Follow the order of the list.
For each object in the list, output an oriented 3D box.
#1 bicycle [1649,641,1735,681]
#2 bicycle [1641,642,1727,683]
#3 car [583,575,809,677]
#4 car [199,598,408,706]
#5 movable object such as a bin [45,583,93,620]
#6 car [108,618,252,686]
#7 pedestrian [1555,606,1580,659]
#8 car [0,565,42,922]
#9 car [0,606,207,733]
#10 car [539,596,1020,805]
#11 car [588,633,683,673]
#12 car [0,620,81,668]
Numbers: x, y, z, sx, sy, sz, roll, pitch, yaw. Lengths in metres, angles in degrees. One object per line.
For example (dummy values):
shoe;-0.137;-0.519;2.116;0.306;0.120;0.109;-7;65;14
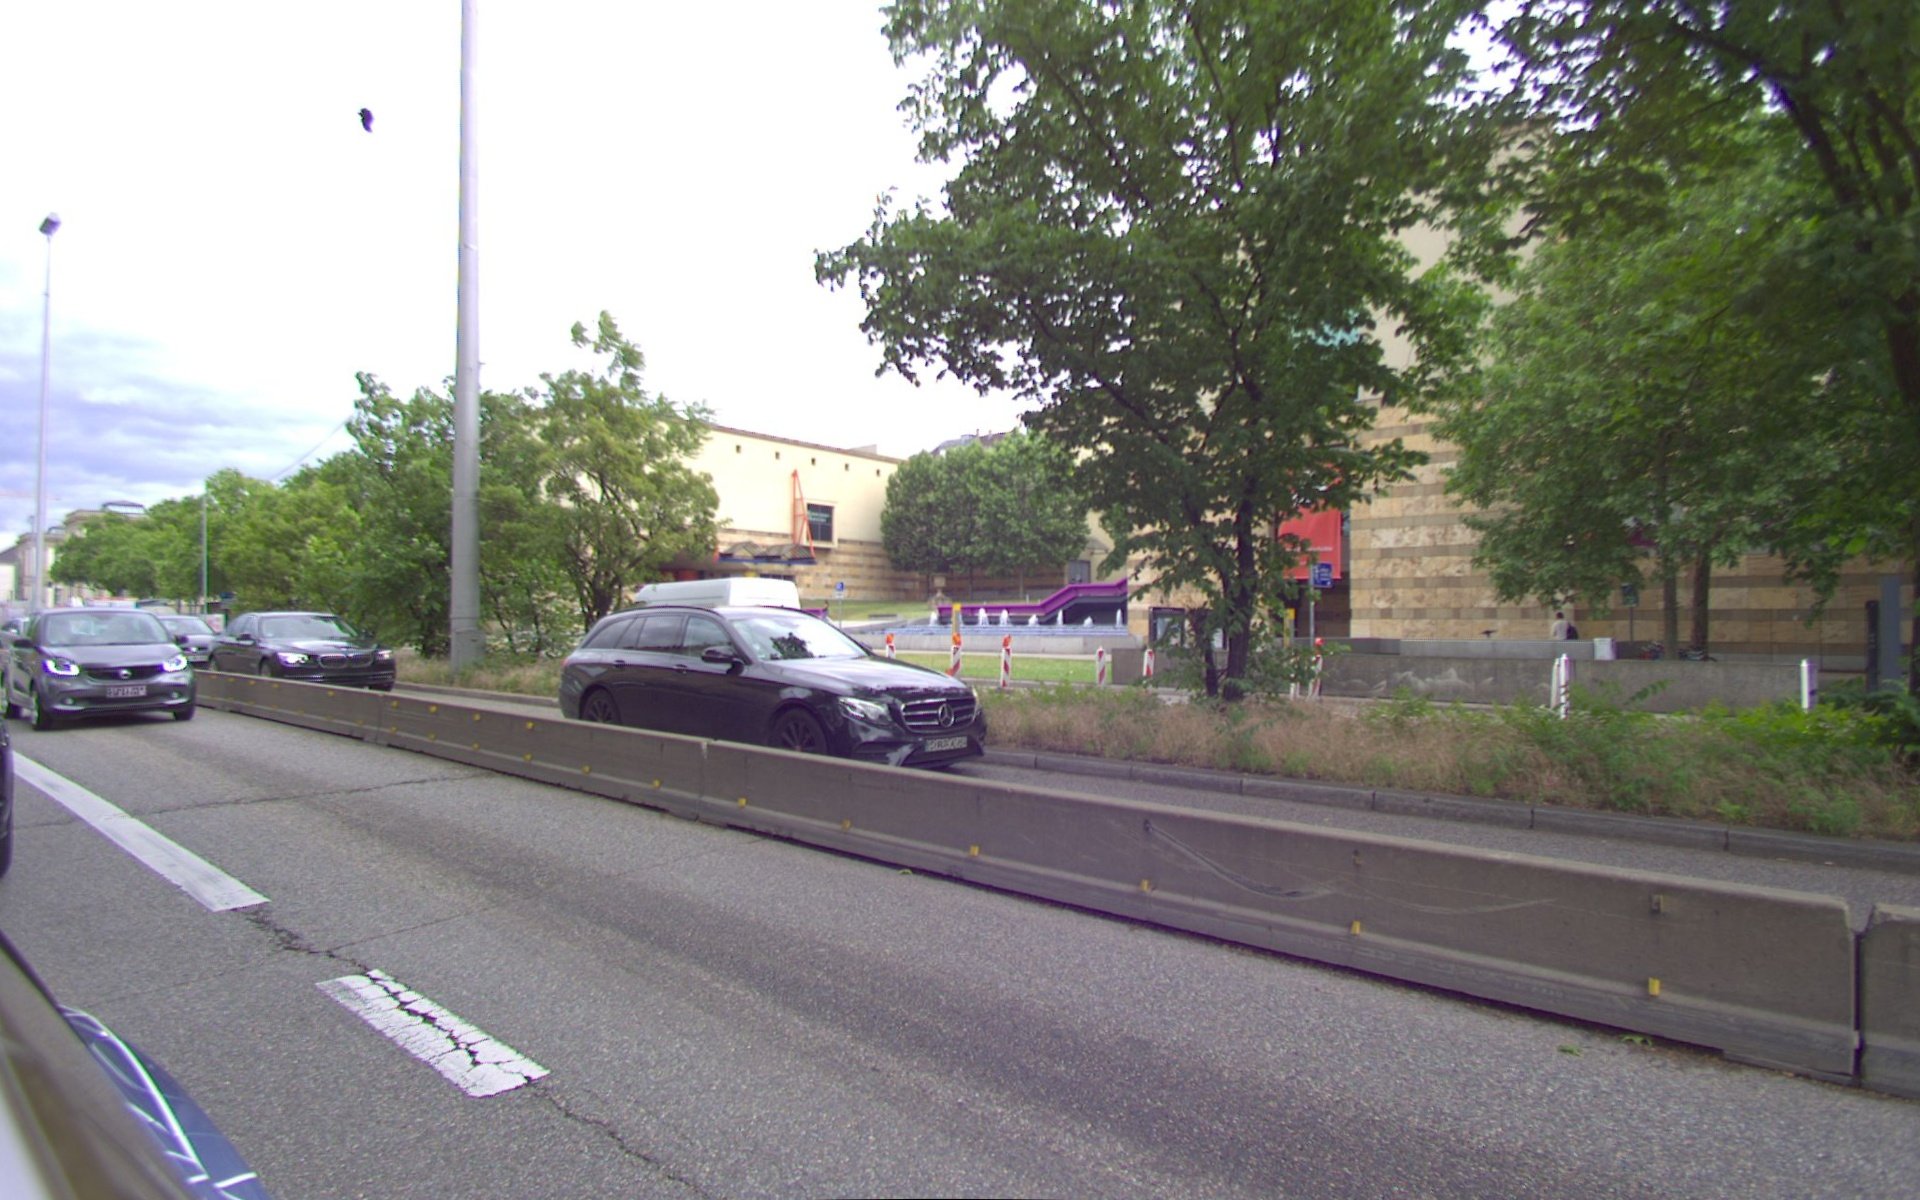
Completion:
bicycle;20.075;1.662;27.784;0.559;0.998;1.847;-1;1;-43
bicycle;19.542;1.674;27.345;0.483;1.002;1.847;-1;1;-43
car;-5.948;0.577;22.358;5.576;1.984;2.093;-1;-2;41
car;-11.697;0.832;17.877;4.935;1.648;1.903;-1;-1;42
movable object such as a bin;-53.872;0.117;61.192;3.286;2.202;1.508;-1;-2;36
car;-18.515;1.167;23.972;4.190;1.465;1.644;-1;-1;37
pedestrian;18.390;0.989;30.623;0.620;1.581;0.434;-1;-2;34
car;-6.663;0.690;5.259;4.190;1.670;1.887;-1;-2;34
car;-12.017;0.858;14.086;3.998;1.516;1.668;-1;-1;41
car;-1.884;0.758;9.517;4.763;1.510;1.798;-1;-1;39
car;-13.132;2.096;40.850;4.522;1.538;1.628;-2;-2;42
car;-31.339;1.415;33.665;4.688;1.492;1.864;-1;-1;31
